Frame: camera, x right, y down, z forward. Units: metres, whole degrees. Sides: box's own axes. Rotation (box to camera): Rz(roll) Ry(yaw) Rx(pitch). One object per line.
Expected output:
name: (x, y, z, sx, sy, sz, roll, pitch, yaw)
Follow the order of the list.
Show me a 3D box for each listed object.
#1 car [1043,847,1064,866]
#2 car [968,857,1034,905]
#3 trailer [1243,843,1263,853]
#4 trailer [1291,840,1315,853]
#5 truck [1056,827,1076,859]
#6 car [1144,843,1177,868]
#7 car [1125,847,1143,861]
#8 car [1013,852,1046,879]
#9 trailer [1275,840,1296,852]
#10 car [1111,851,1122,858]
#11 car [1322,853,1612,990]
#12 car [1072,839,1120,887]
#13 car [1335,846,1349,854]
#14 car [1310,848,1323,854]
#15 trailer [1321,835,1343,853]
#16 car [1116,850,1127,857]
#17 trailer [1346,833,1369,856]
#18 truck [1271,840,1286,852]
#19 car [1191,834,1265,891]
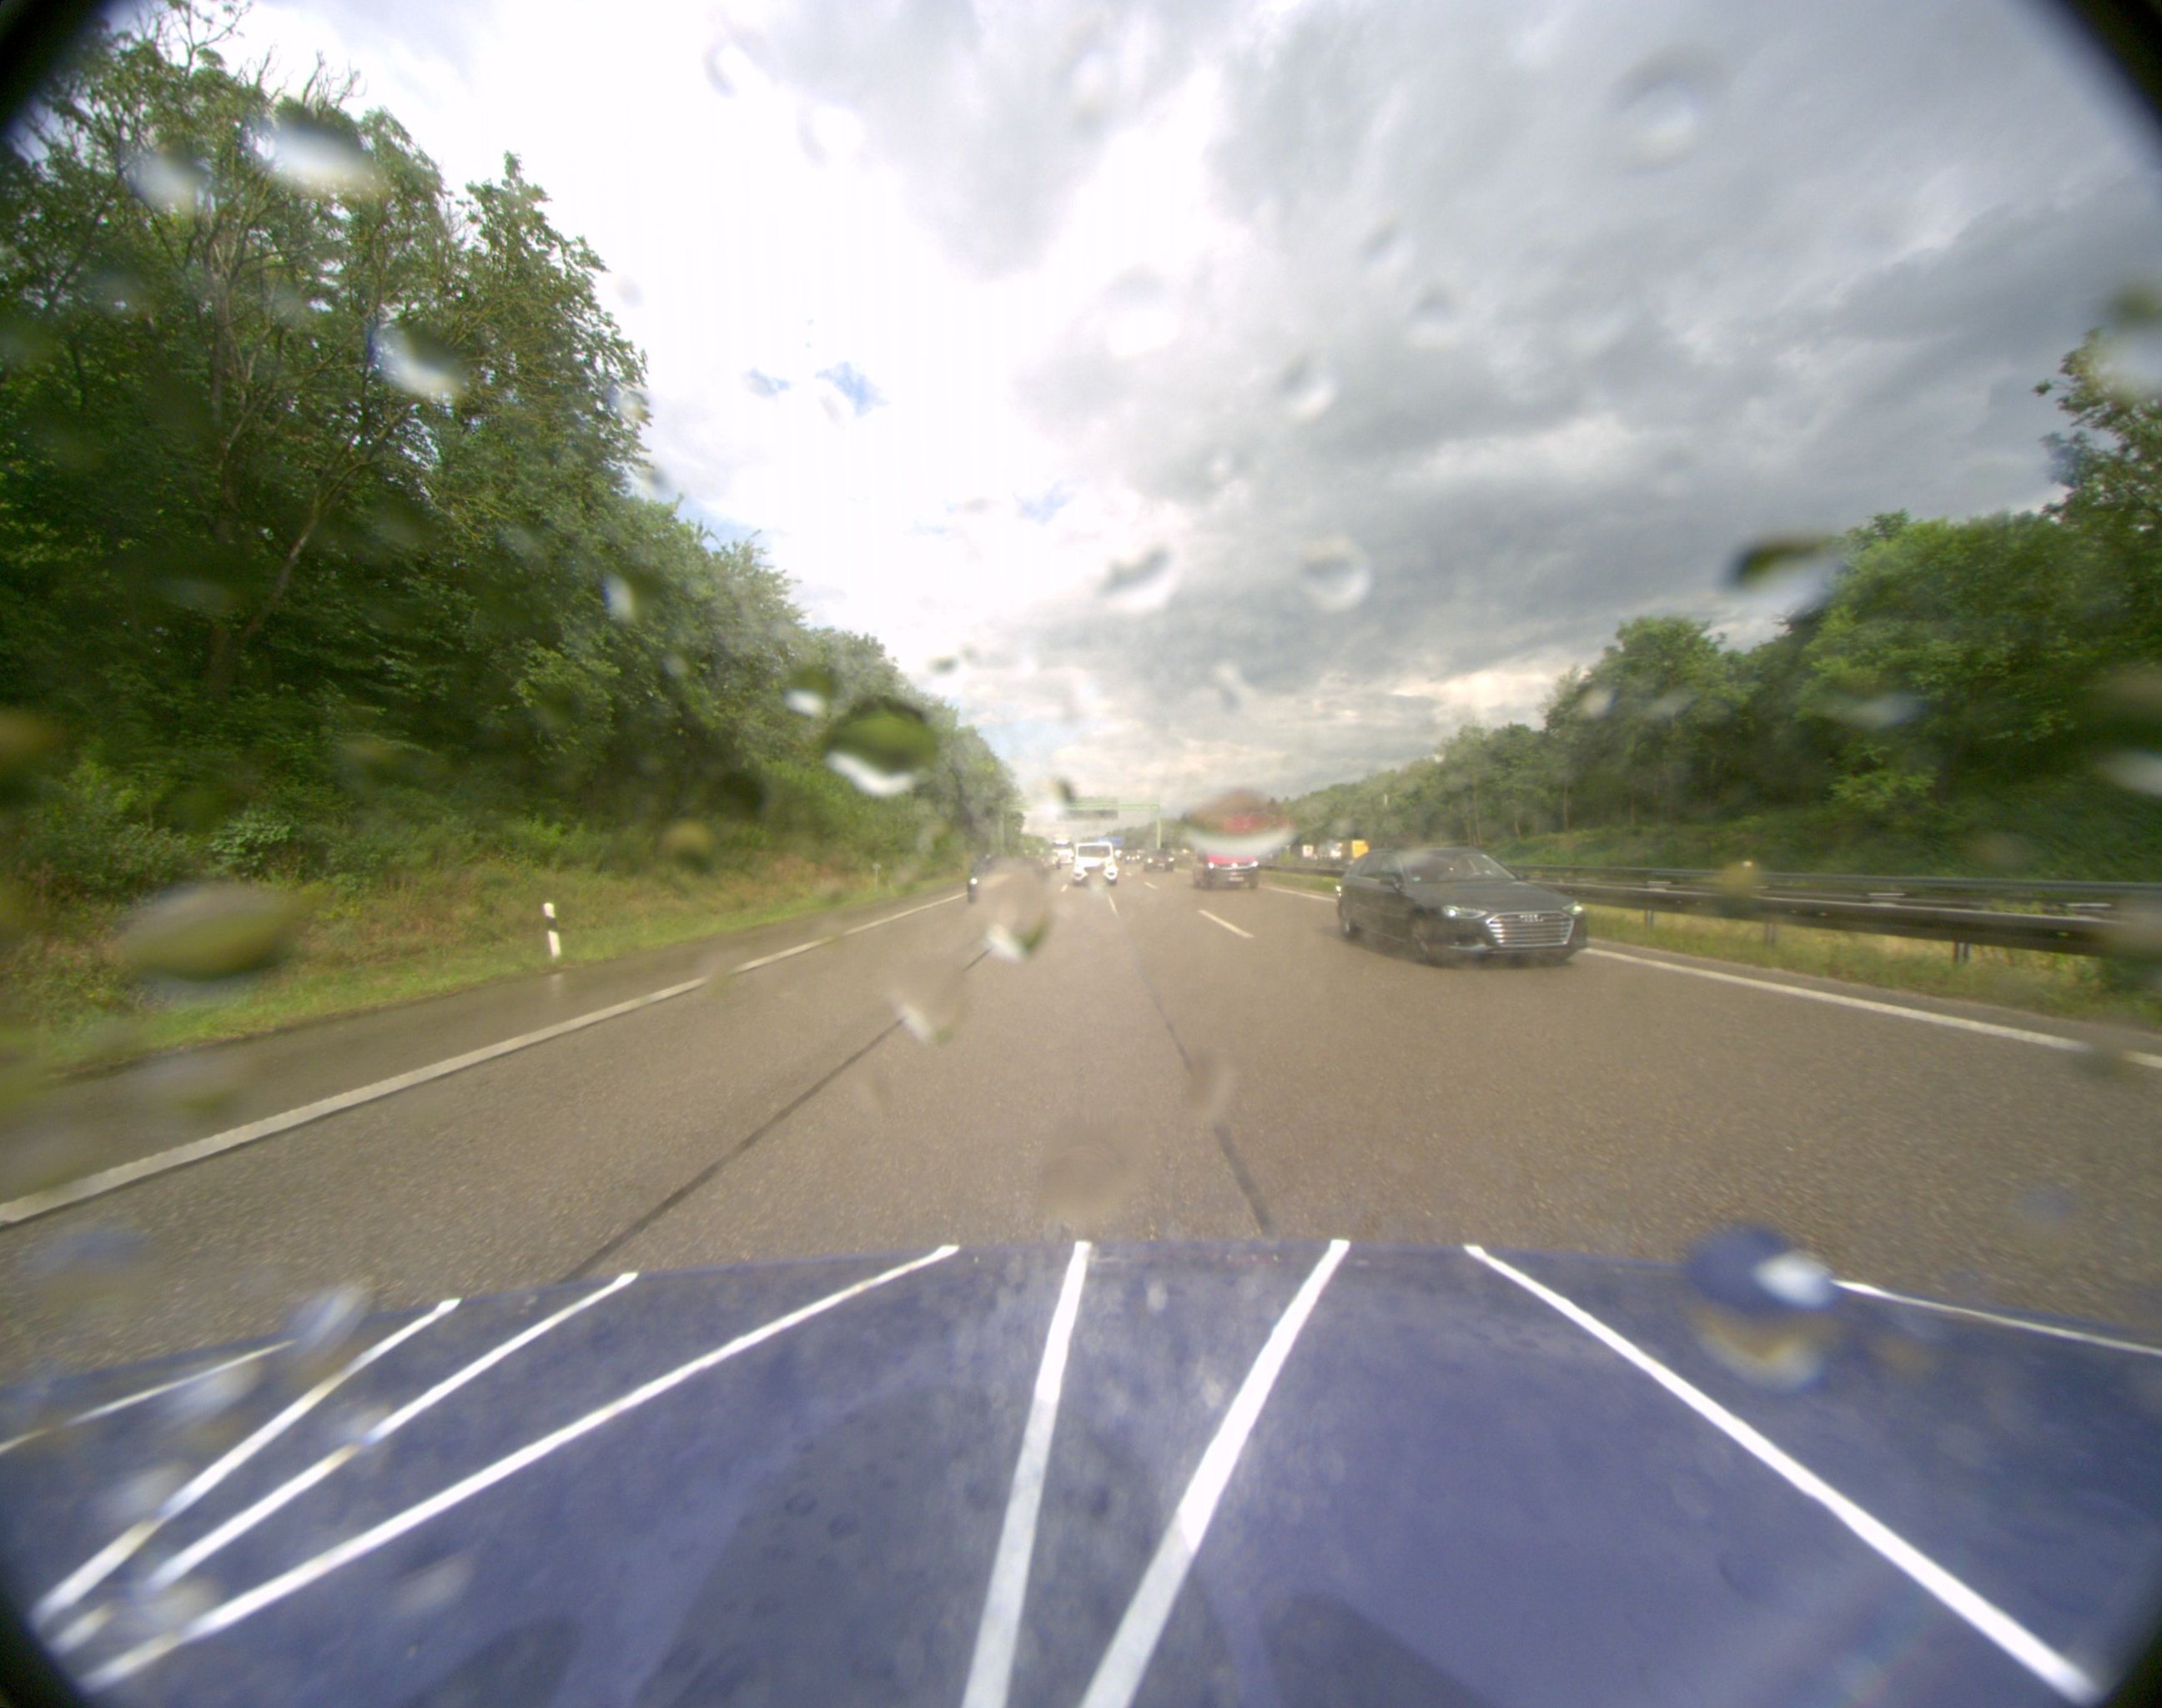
car: (-2.644, 0.207, 75.129, 1.831, 1.793, 5.304, -2, 1, 0)
car: (-2.692, 0.868, 26.408, 1.759, 1.388, 4.367, -2, 1, 0)
trailer: (56.145, -1.999, 247.985, 3.193, 3.253, 12.643, 0, 1, -2)
trailer: (56.820, -2.007, 194.744, 3.027, 3.174, 12.174, 0, 1, 2)
truck: (-2.083, -1.463, 103.983, 2.460, 4.080, 5.332, -2, 0, 0)
car: (5.711, 0.098, 55.049, 1.895, 1.660, 4.294, -2, 1, 0)
car: (6.172, -0.015, 88.826, 1.895, 1.558, 4.053, -2, 1, 0)
car: (-2.958, 0.644, 44.247, 1.655, 1.448, 3.744, -2, 1, -1)
trailer: (57.344, -2.301, 213.285, 2.611, 3.253, 12.646, 0, 1, 0)
car: (6.857, 0.145, 146.436, 1.888, 1.228, 4.505, -2, 0, 0)
car: (4.939, 0.734, 10.553, 1.723, 1.403, 4.467, -2, 1, 0)
car: (0.641, 0.379, 35.081, 1.985, 1.973, 5.168, -2, 0, 0)
car: (51.656, -0.859, 150.192, 1.898, 1.494, 4.002, 0, 1, 8)
car: (55.537, -0.674, 179.235, 1.899, 1.494, 4.001, 0, 1, 4)
trailer: (53.293, -2.100, 161.538, 2.187, 3.579, 11.725, 0, 1, 8)
car: (7.078, -0.102, 133.864, 1.675, 1.228, 3.999, -2, 0, 0)
trailer: (48.091, -1.686, 132.356, 1.997, 3.674, 13.668, -2, 1, 13)
truck: (57.340, -2.379, 220.614, 2.582, 3.232, 6.535, 0, 1, 0)
car: (5.539, 0.285, 29.220, 1.895, 1.973, 4.750, -2, 0, 0)
